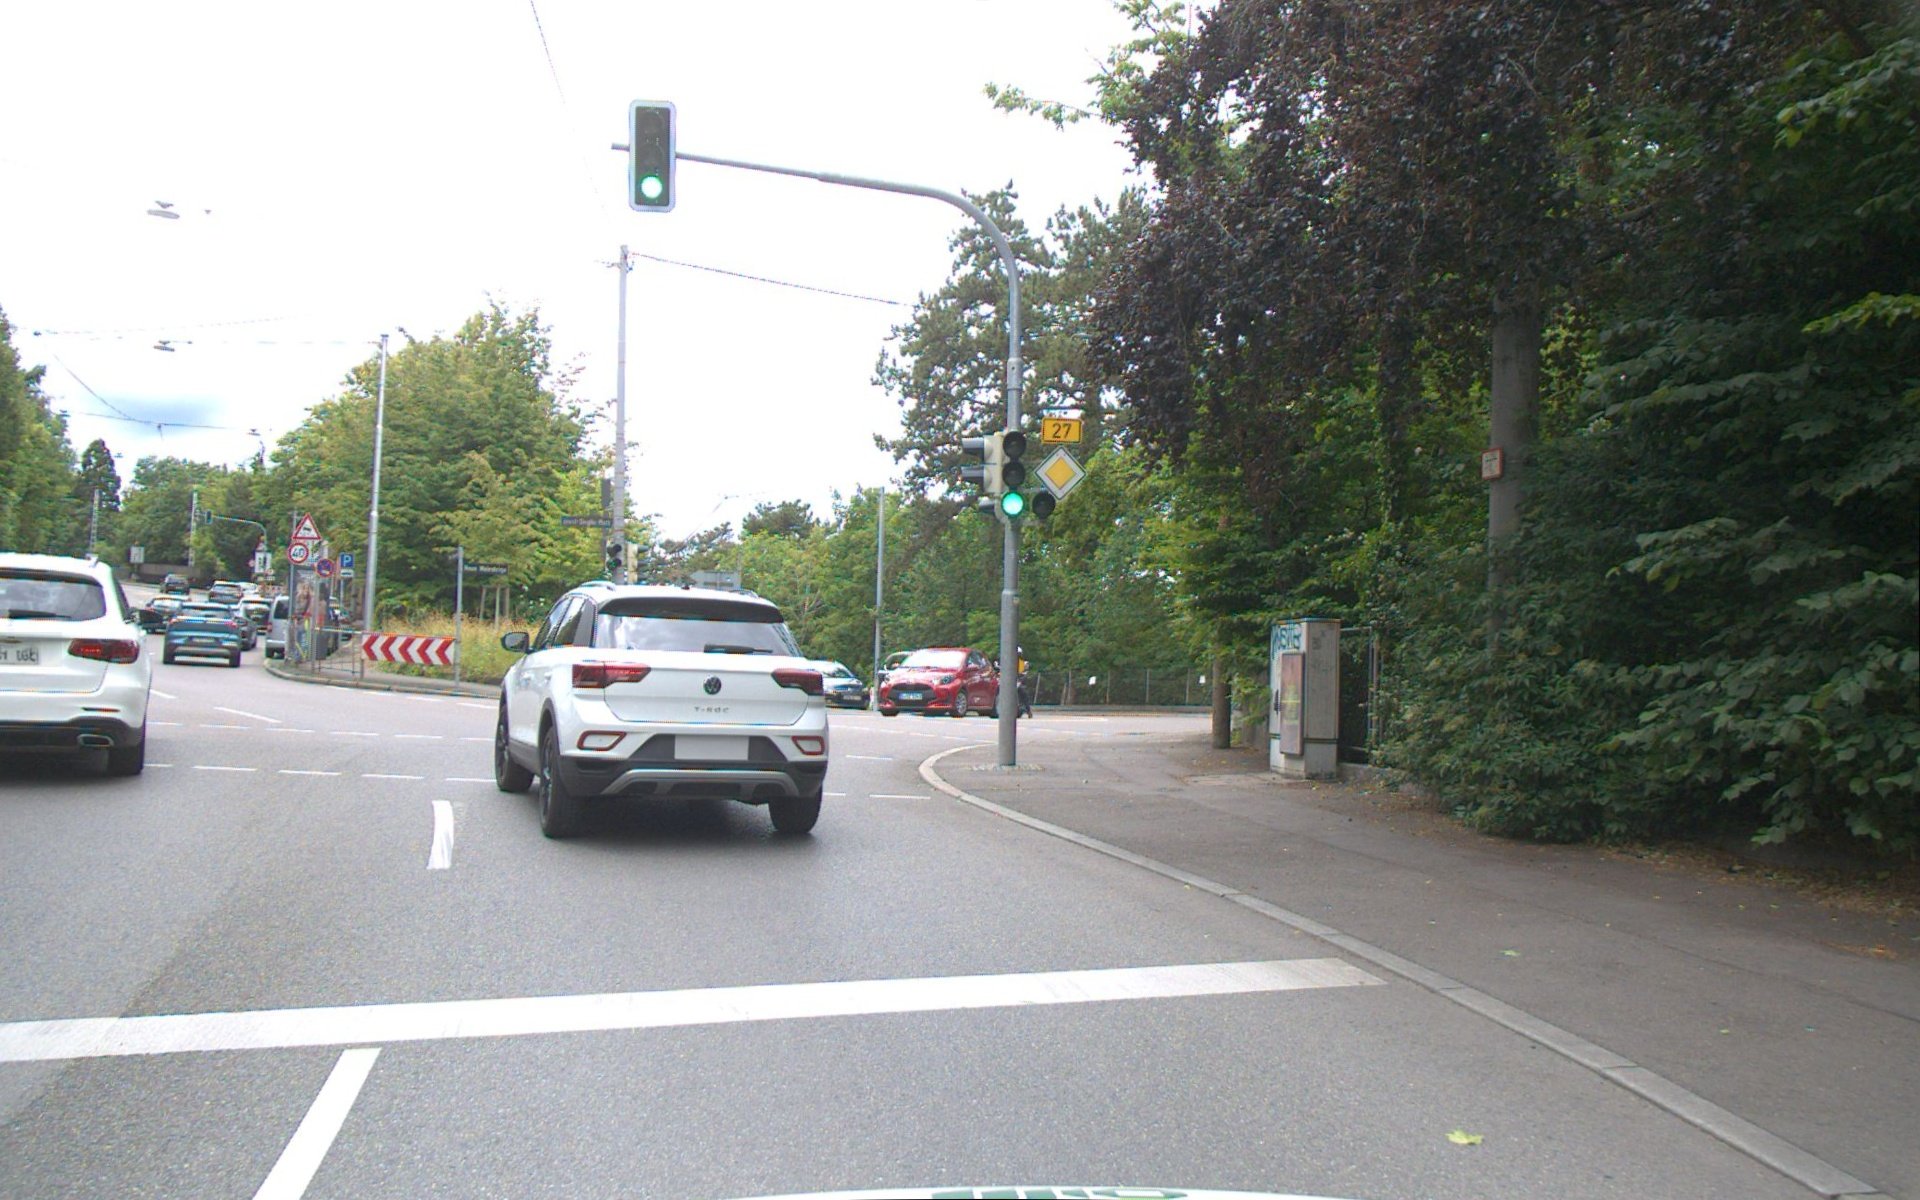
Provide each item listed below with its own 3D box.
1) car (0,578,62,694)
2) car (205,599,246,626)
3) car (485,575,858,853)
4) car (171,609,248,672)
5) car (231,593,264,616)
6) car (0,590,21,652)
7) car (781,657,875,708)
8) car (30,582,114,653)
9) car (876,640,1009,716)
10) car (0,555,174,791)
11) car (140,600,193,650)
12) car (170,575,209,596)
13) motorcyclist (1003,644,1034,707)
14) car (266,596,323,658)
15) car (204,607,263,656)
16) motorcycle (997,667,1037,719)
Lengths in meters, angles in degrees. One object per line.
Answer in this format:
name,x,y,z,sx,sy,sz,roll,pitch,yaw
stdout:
car,-14.455,0.471,24.296,1.847,1.561,4.723,3,-2,-32
car,-43.853,0.730,98.689,1.632,1.476,3.505,3,-1,-34
car,-2.234,0.650,11.736,1.730,1.580,4.308,1,0,-22
car,-19.091,1.012,42.107,1.607,1.444,3.825,4,-2,-24
car,-48.354,0.299,112.208,1.629,1.476,3.512,3,-1,-29
car,-27.278,0.494,45.431,1.967,1.665,4.365,5,-3,-23
car,-4.125,2.565,51.243,1.694,1.512,3.969,2,-4,-24
car,-23.608,0.441,44.089,1.767,1.665,3.704,4,-1,-27
car,-0.297,1.670,34.814,1.632,1.494,3.956,-1,-4,18
car,-7.570,0.464,13.600,1.834,1.633,4.636,1,1,-24
car,-30.498,0.944,63.513,1.616,1.852,3.962,1,-1,-28
car,-59.669,-1.113,128.065,1.638,1.476,3.491,4,-1,-43
motorcyclist,1.377,1.775,38.858,0.587,1.455,0.757,-1,-2,15
car,-20.378,0.799,50.600,1.474,1.779,3.096,3,-1,-23
car,-23.983,1.013,54.574,1.662,1.449,3.681,3,0,-24
motorcycle,1.348,2.172,38.755,0.586,1.173,1.582,-1,-2,15
